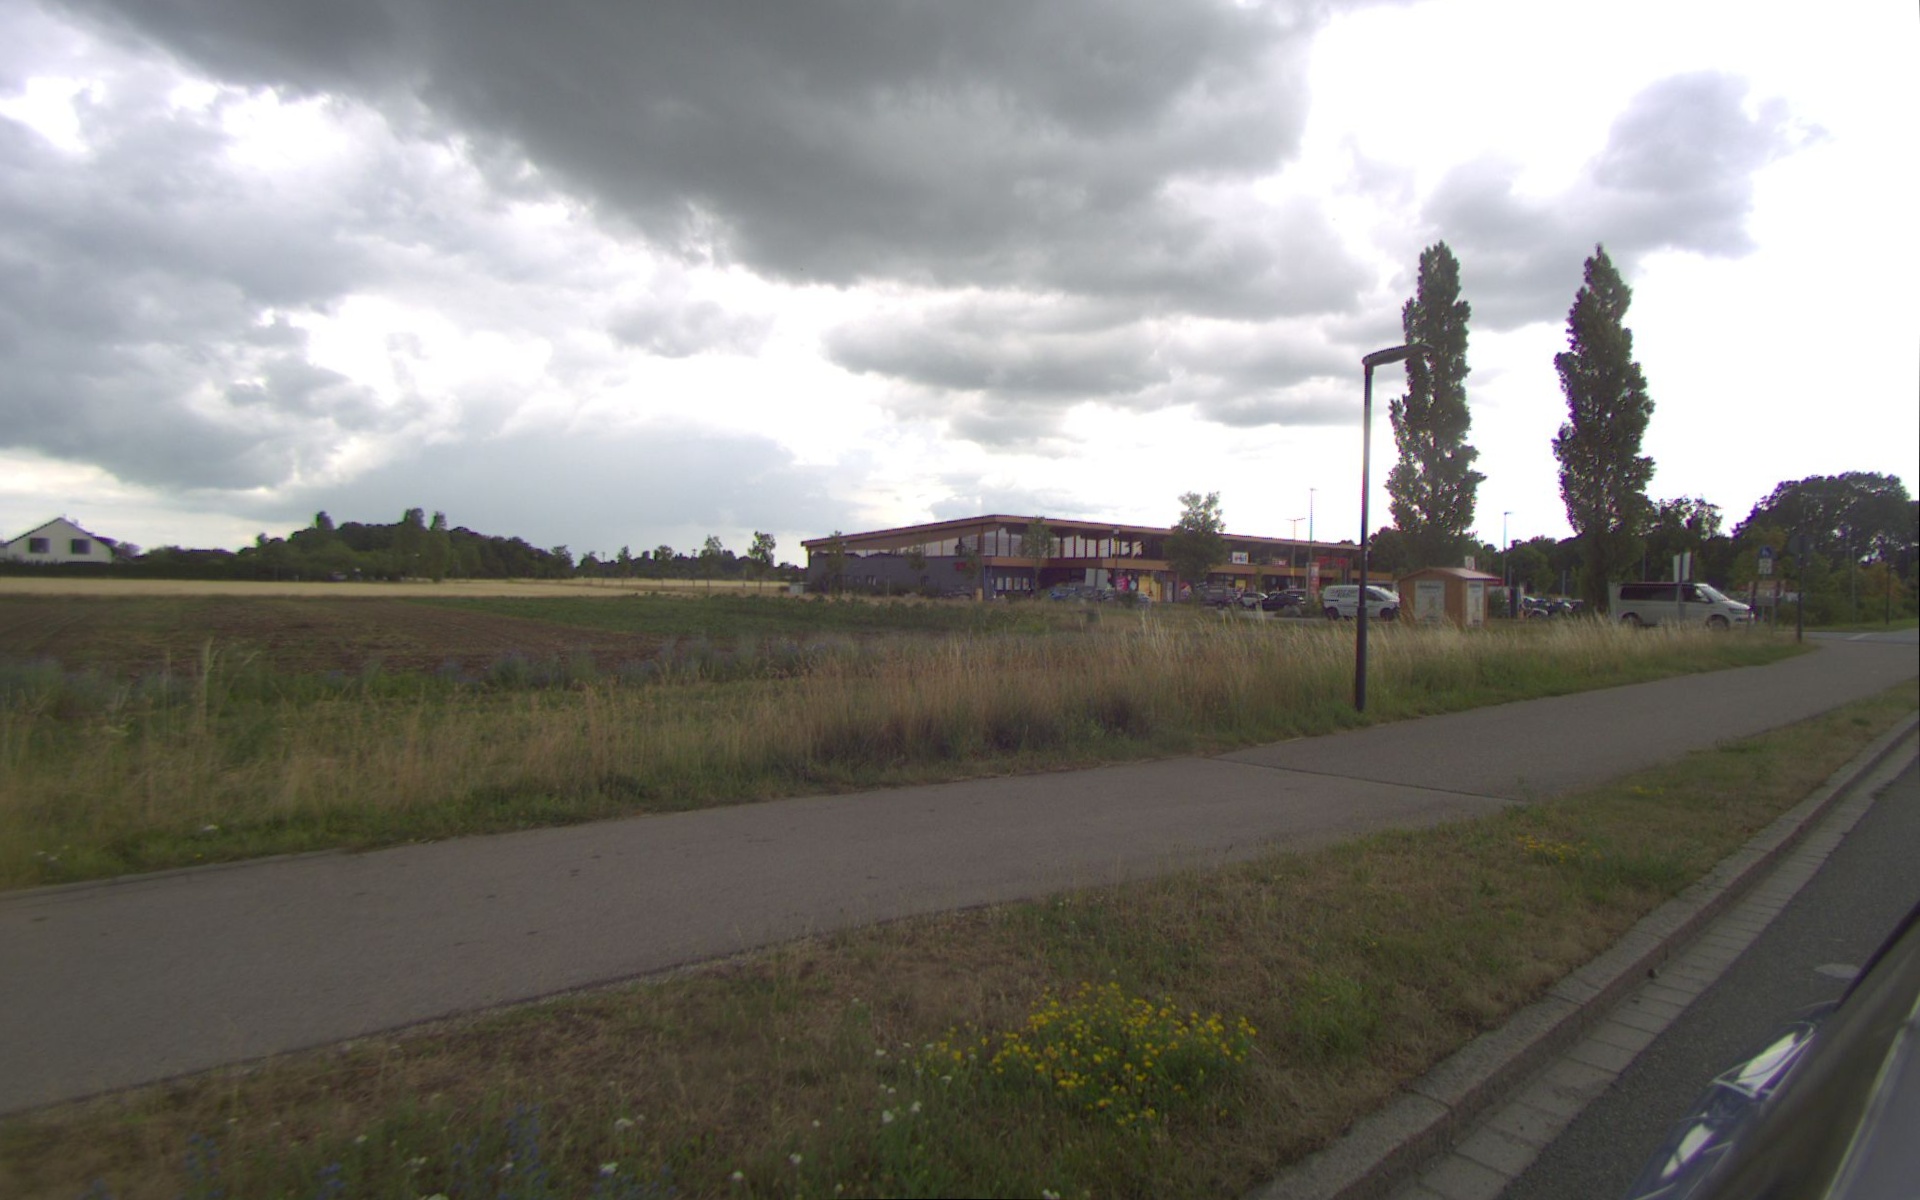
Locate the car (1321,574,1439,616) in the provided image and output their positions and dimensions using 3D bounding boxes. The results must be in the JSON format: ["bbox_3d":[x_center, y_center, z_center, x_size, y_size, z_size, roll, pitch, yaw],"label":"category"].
[{"bbox_3d":[21.596,-0.247,52.241,1.964,2.039,5.313,-1,0,-38],"label":"car"}]

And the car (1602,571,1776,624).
[{"bbox_3d":[29.788,-0.111,41.514,2.516,2.039,5.312,-1,0,-39],"label":"car"}]

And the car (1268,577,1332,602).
[{"bbox_3d":[29.257,-0.894,87.265,4.840,2.039,1.969,-1,0,43],"label":"car"}]

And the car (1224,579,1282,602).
[{"bbox_3d":[27.301,-0.899,94.483,4.840,2.039,1.969,-1,0,43],"label":"car"}]

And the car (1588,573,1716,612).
[{"bbox_3d":[37.914,-0.394,55.564,5.510,2.039,1.968,-1,0,44],"label":"car"}]

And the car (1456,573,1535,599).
[{"bbox_3d":[44.591,-1.160,84.378,5.510,2.039,1.968,-1,0,44],"label":"car"}]

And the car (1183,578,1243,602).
[{"bbox_3d":[22.488,-0.907,90.005,4.840,2.039,1.969,-1,0,43],"label":"car"}]
